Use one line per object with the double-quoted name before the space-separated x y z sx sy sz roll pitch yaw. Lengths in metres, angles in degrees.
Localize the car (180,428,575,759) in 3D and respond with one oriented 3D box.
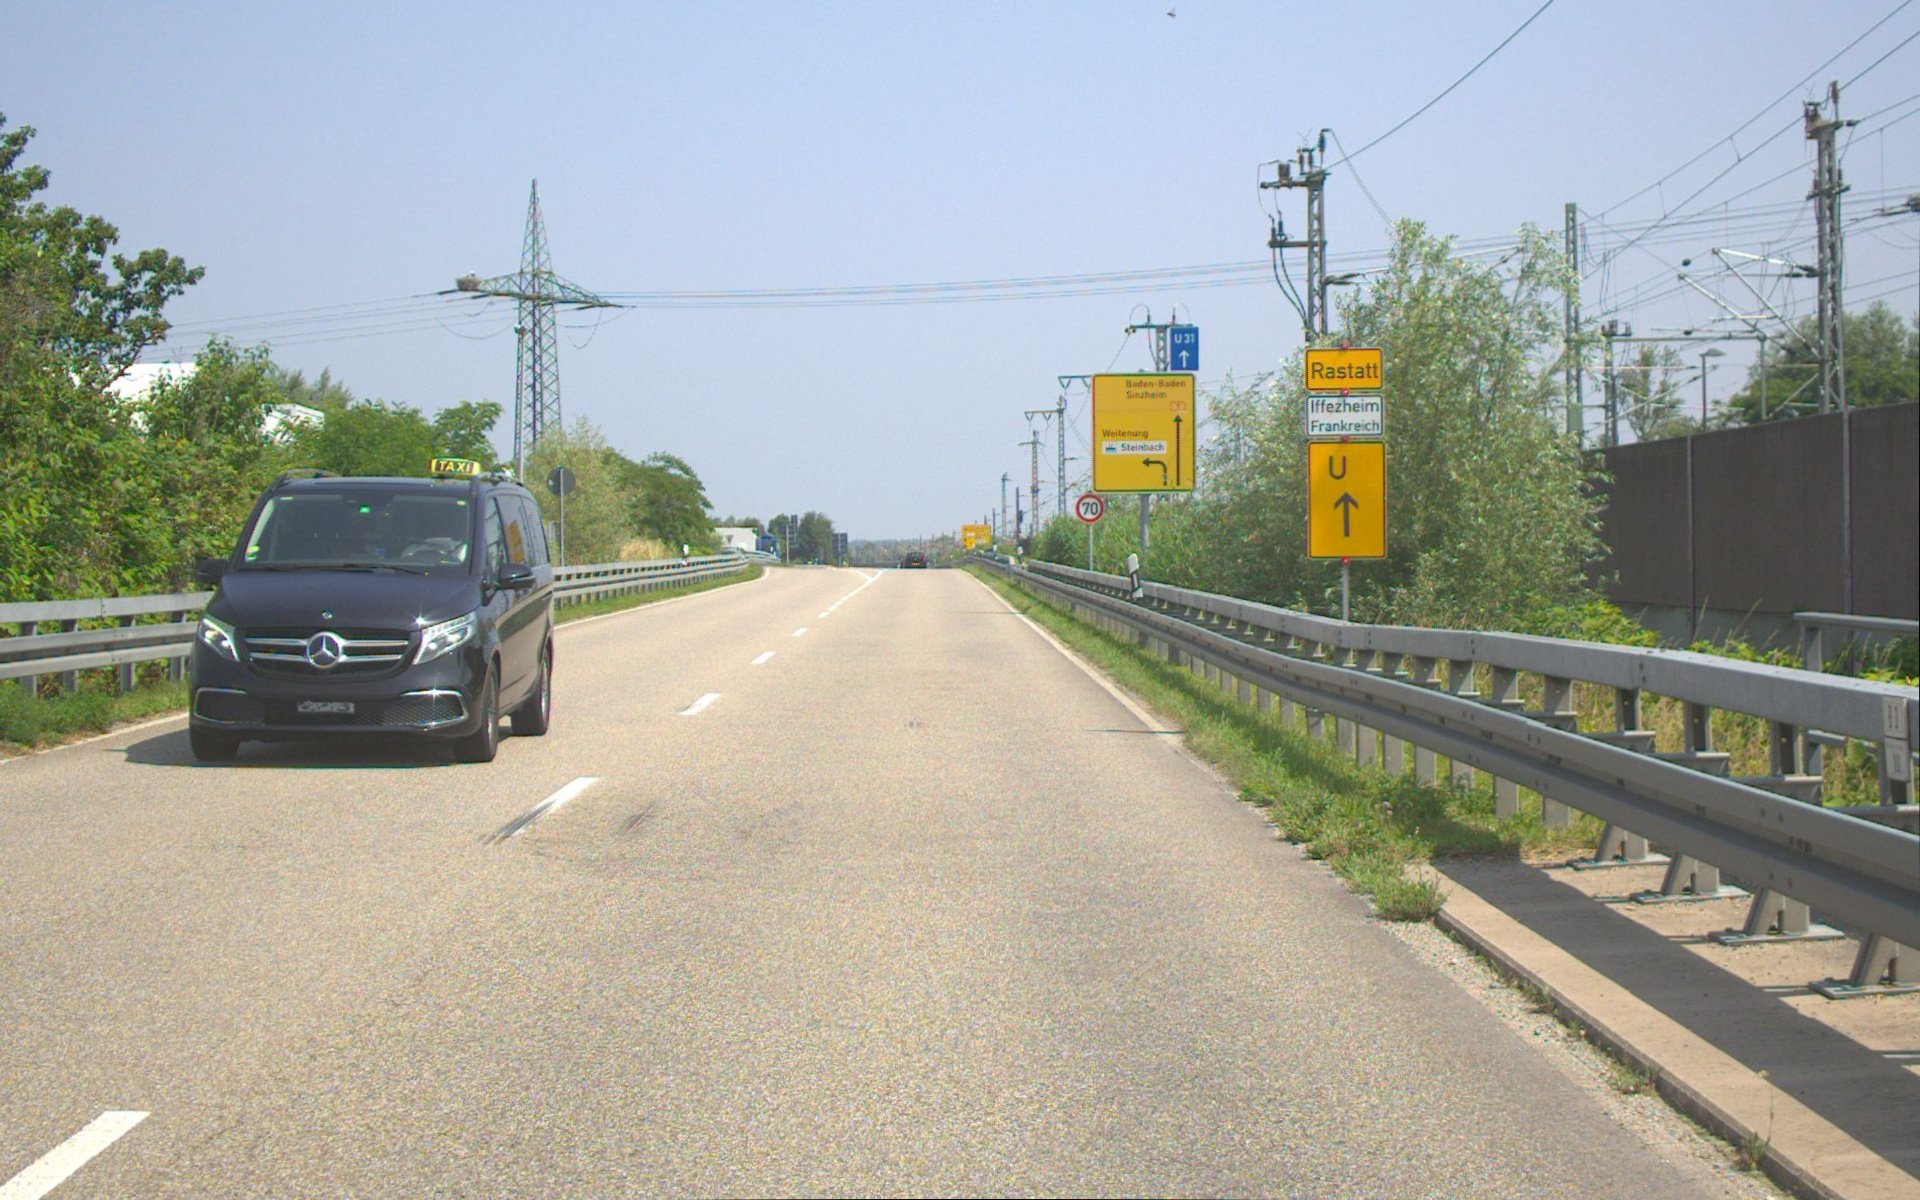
"car" -3.894 -0.099 23.879 1.893 2.007 5.370 1 1 -1
